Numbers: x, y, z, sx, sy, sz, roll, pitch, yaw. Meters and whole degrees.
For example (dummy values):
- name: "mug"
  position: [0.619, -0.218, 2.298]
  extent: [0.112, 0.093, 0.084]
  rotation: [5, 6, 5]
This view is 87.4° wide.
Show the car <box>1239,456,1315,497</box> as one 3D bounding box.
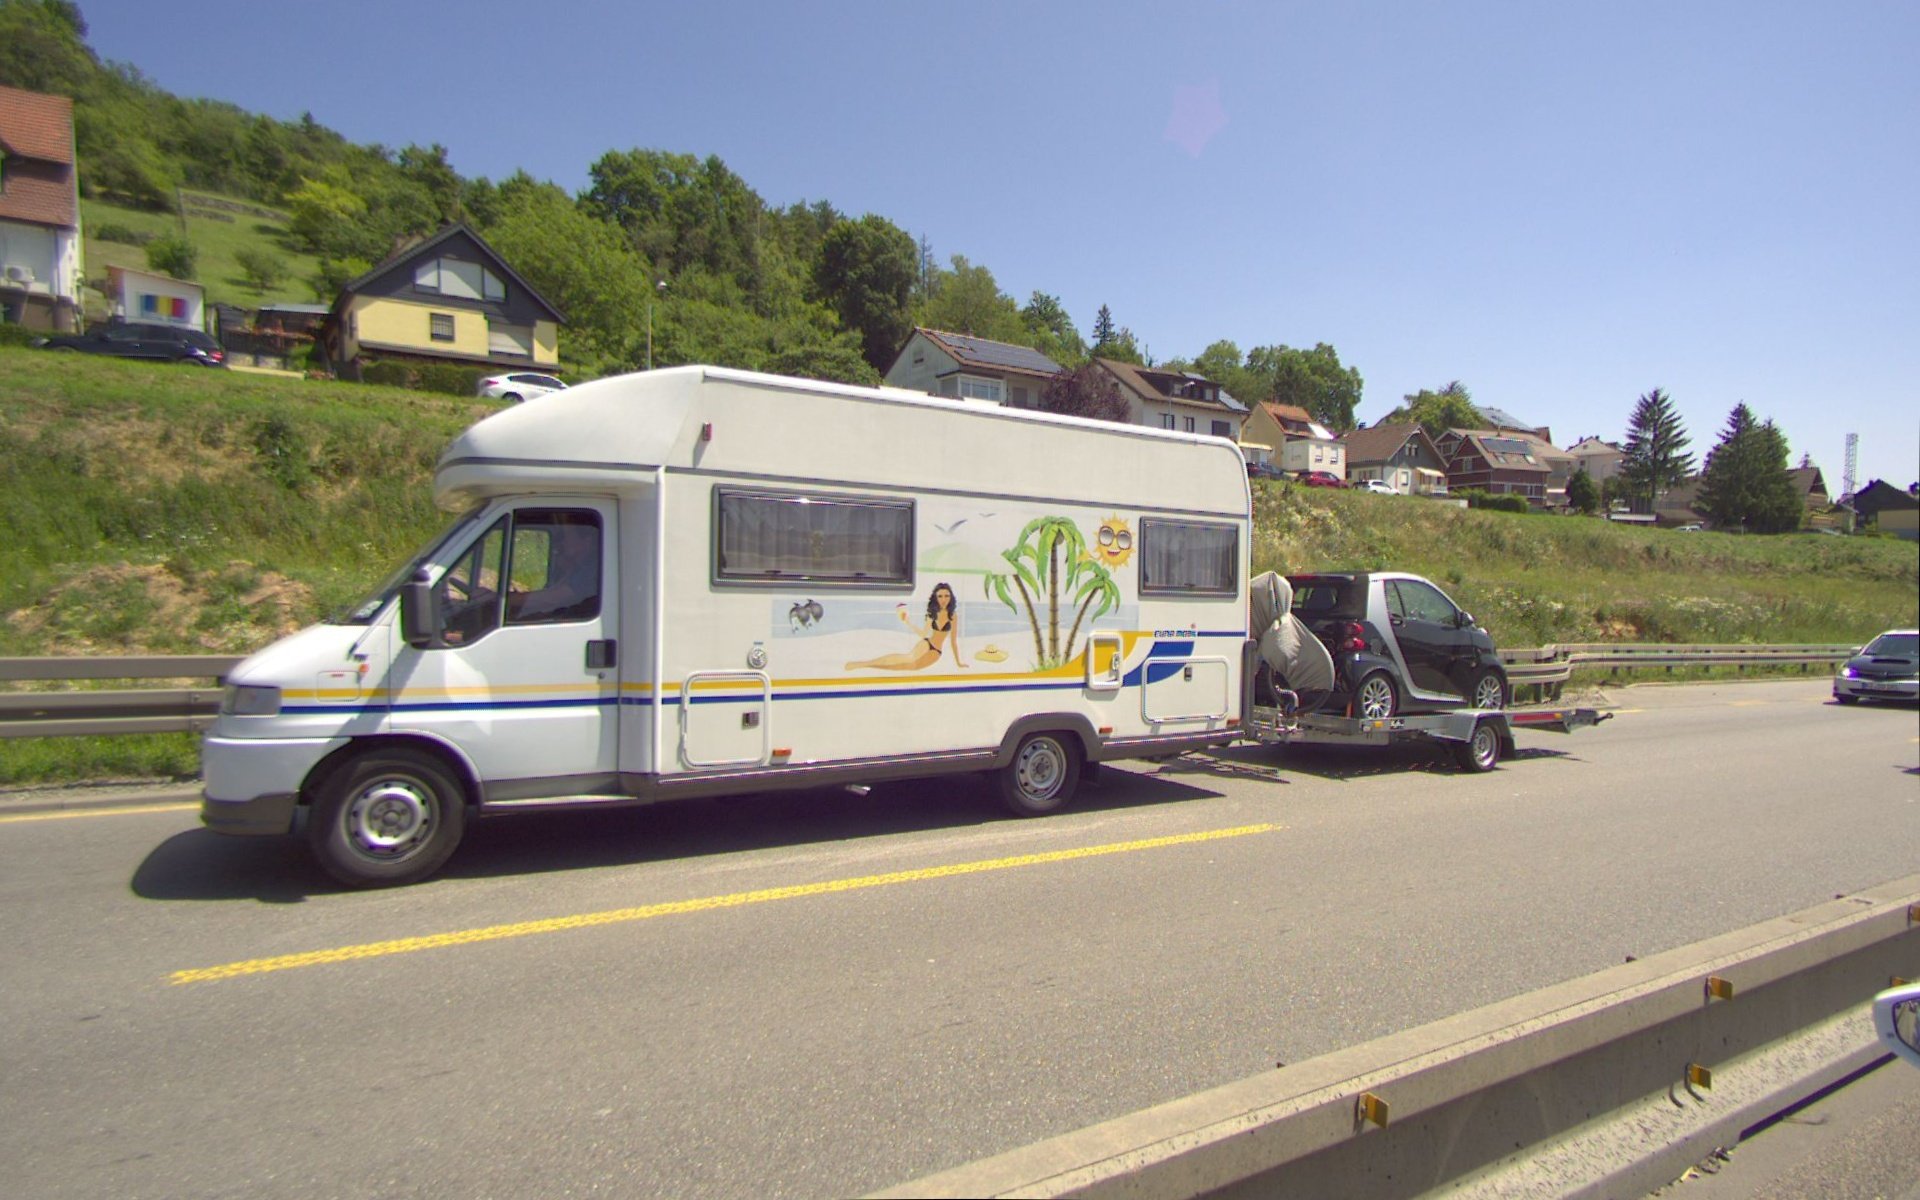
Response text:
- name: "car"
  position: [19.680, -7.606, 62.364]
  extent: [4.720, 1.817, 2.162]
  rotation: [3, -1, -37]

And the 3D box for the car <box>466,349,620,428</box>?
- name: "car"
  position: [-15.637, -7.872, 37.801]
  extent: [4.966, 1.817, 1.979]
  rotation: [3, -1, -37]

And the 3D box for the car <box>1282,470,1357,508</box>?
- name: "car"
  position: [24.001, -7.370, 67.069]
  extent: [4.752, 1.817, 2.333]
  rotation: [3, -1, -34]

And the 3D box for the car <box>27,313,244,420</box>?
- name: "car"
  position: [-25.074, -7.057, 30.851]
  extent: [4.925, 2.035, 2.056]
  rotation: [3, -1, -36]

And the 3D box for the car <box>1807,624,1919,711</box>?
- name: "car"
  position: [18.302, 1.233, 19.244]
  extent: [4.503, 1.450, 1.800]
  rotation: [1, 0, -31]

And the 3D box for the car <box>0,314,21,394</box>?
- name: "car"
  position: [-29.024, -7.120, 27.626]
  extent: [4.389, 1.896, 1.980]
  rotation: [3, -1, -36]

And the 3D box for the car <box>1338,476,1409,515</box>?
- name: "car"
  position: [29.113, -7.291, 70.647]
  extent: [4.768, 2.068, 2.334]
  rotation: [3, -1, -34]

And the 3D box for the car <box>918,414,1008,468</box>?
- name: "car"
  position: [0.159, -7.600, 48.407]
  extent: [3.964, 1.817, 1.979]
  rotation: [3, -1, -37]

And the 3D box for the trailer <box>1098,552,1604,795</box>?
- name: "trailer"
  position: [4.053, 0.628, 10.156]
  extent: [5.082, 1.919, 2.091]
  rotation: [1, 0, -31]

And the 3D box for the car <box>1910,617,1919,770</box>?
- name: "car"
  position: [11.127, 0.963, 10.181]
  extent: [2.773, 1.525, 1.476]
  rotation: [1, 0, -31]

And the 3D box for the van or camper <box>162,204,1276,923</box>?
- name: "van or camper"
  position: [-1.053, -0.095, 7.090]
  extent: [6.844, 3.107, 2.280]
  rotation: [1, 0, -31]
